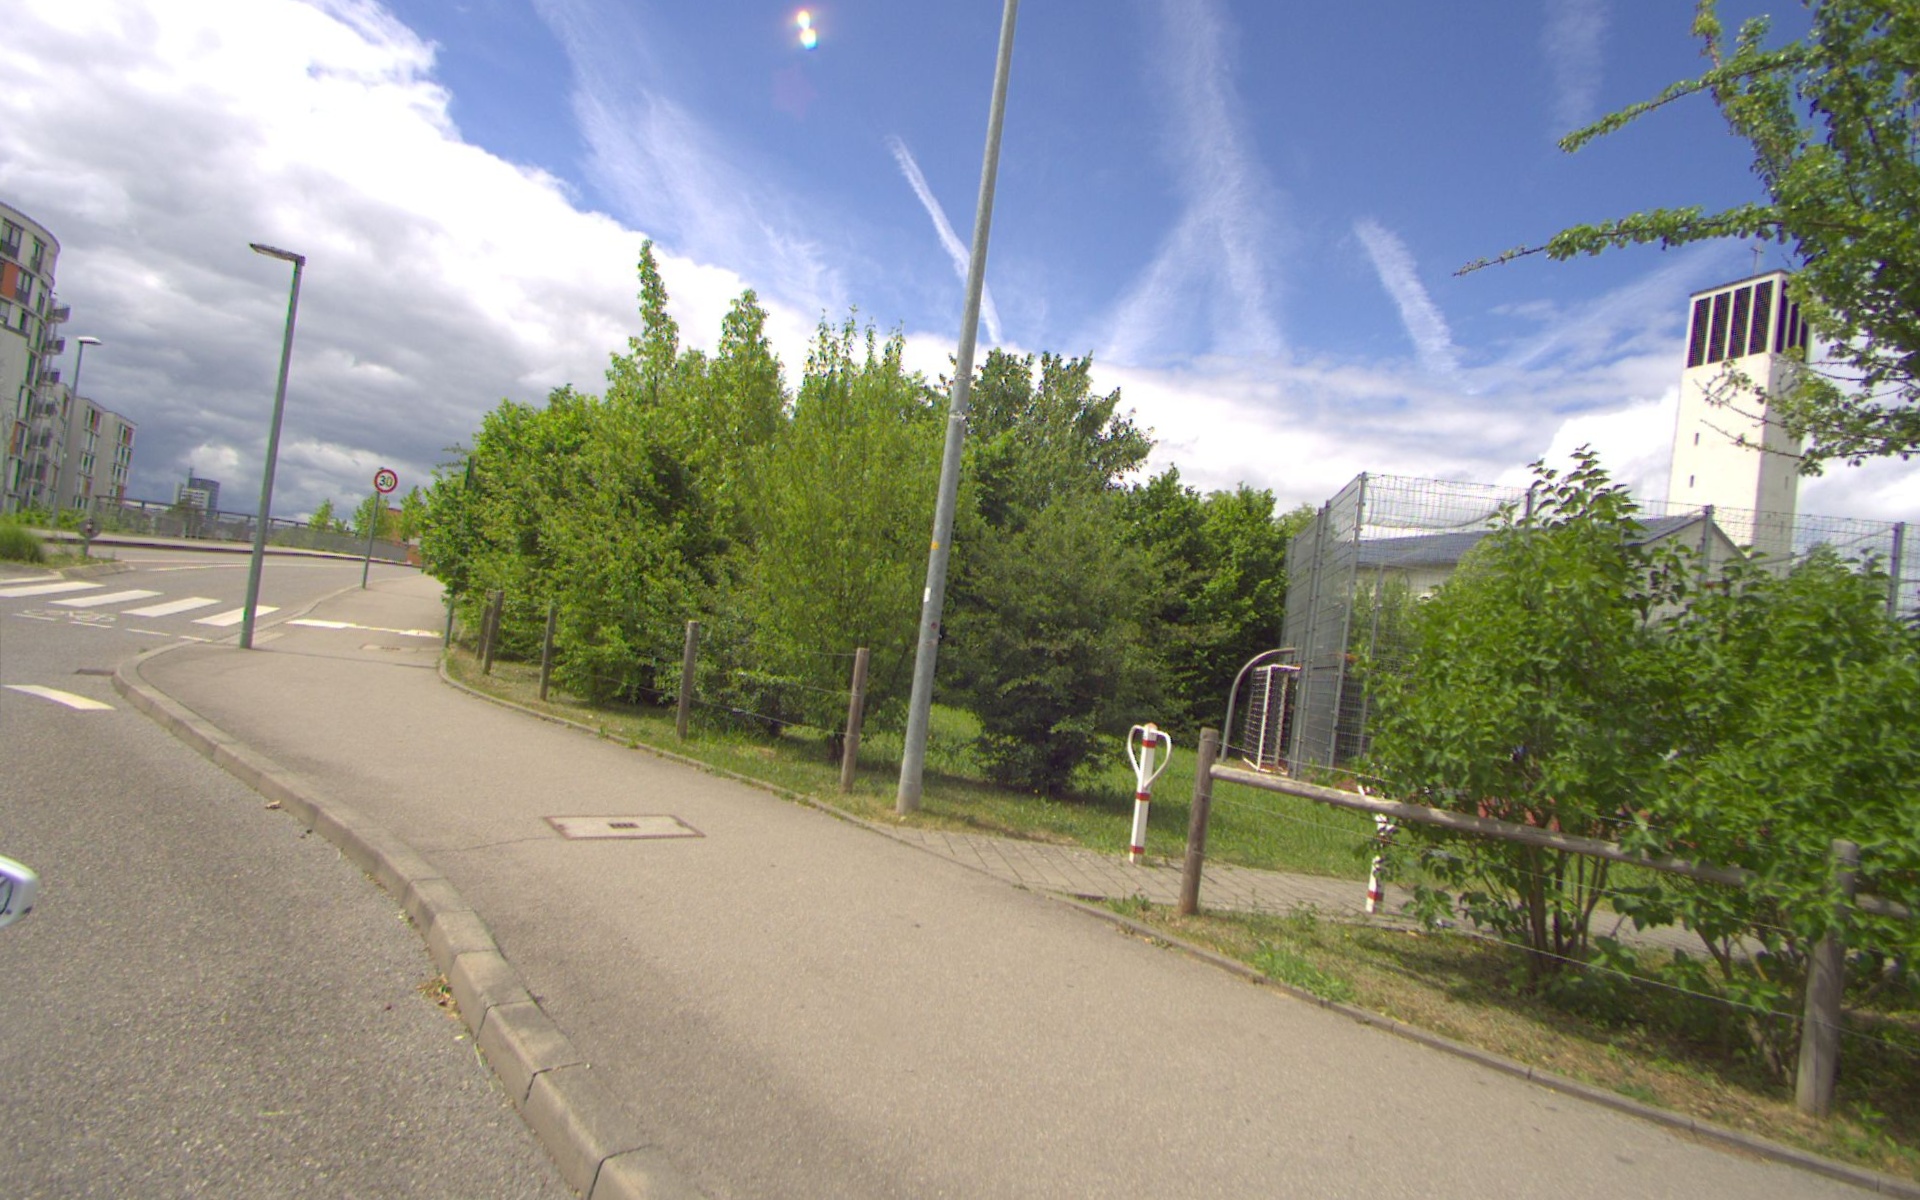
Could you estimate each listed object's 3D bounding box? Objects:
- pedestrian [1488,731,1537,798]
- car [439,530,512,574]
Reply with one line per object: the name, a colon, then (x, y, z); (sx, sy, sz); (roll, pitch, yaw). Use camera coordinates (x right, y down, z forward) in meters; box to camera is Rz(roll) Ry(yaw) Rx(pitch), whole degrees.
pedestrian: (12.326, 3.665, 22.433); (0.787, 1.361, 0.461); (4, -4, 39)
car: (-24.313, -2.363, 50.677); (1.879, 1.467, 4.004); (8, -5, -5)
